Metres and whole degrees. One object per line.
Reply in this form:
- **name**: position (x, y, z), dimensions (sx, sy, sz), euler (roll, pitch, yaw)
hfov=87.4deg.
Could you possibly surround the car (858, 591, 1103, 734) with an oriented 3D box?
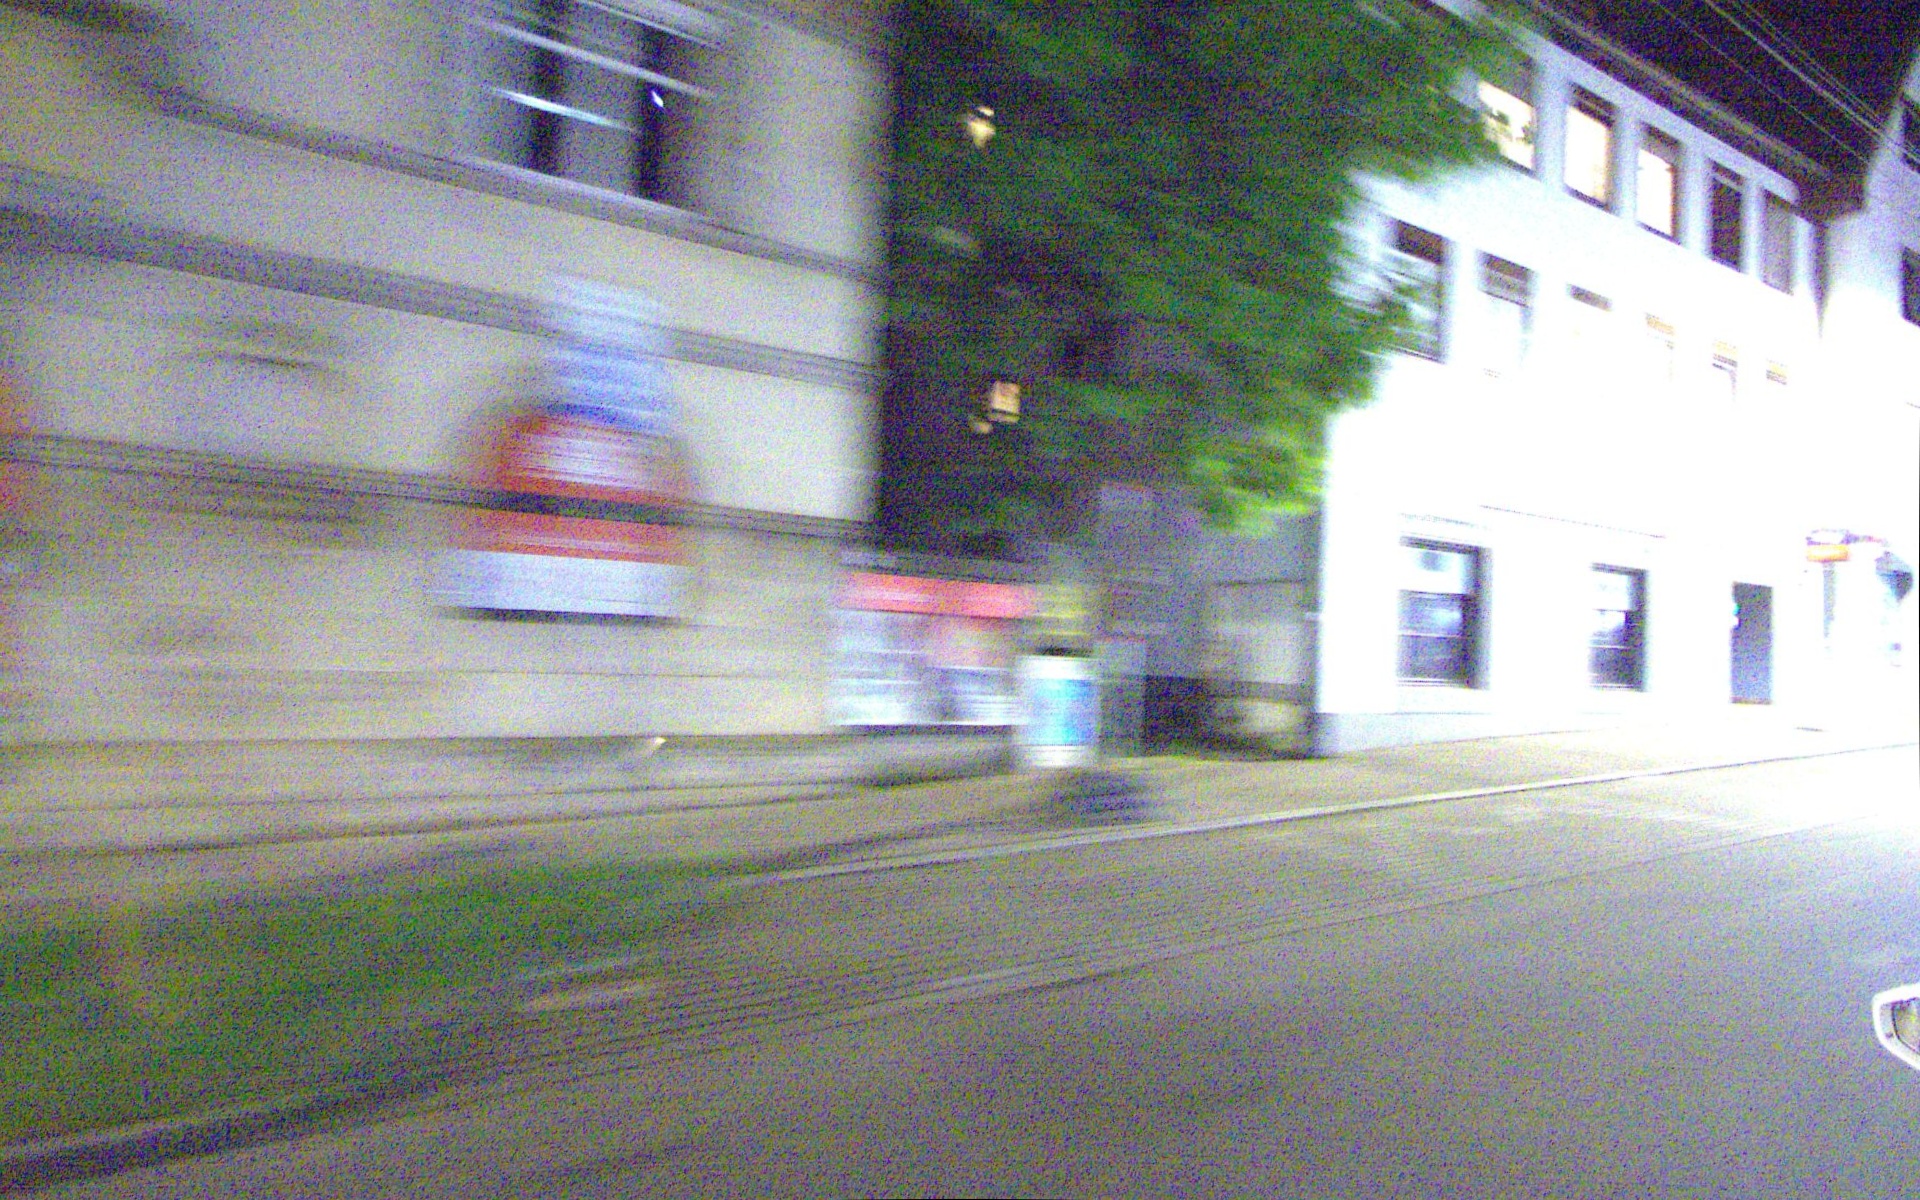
- **car**: position (0.122, 0.825, 15.297), dimensions (1.766, 1.828, 4.475), euler (2, -1, -28)
